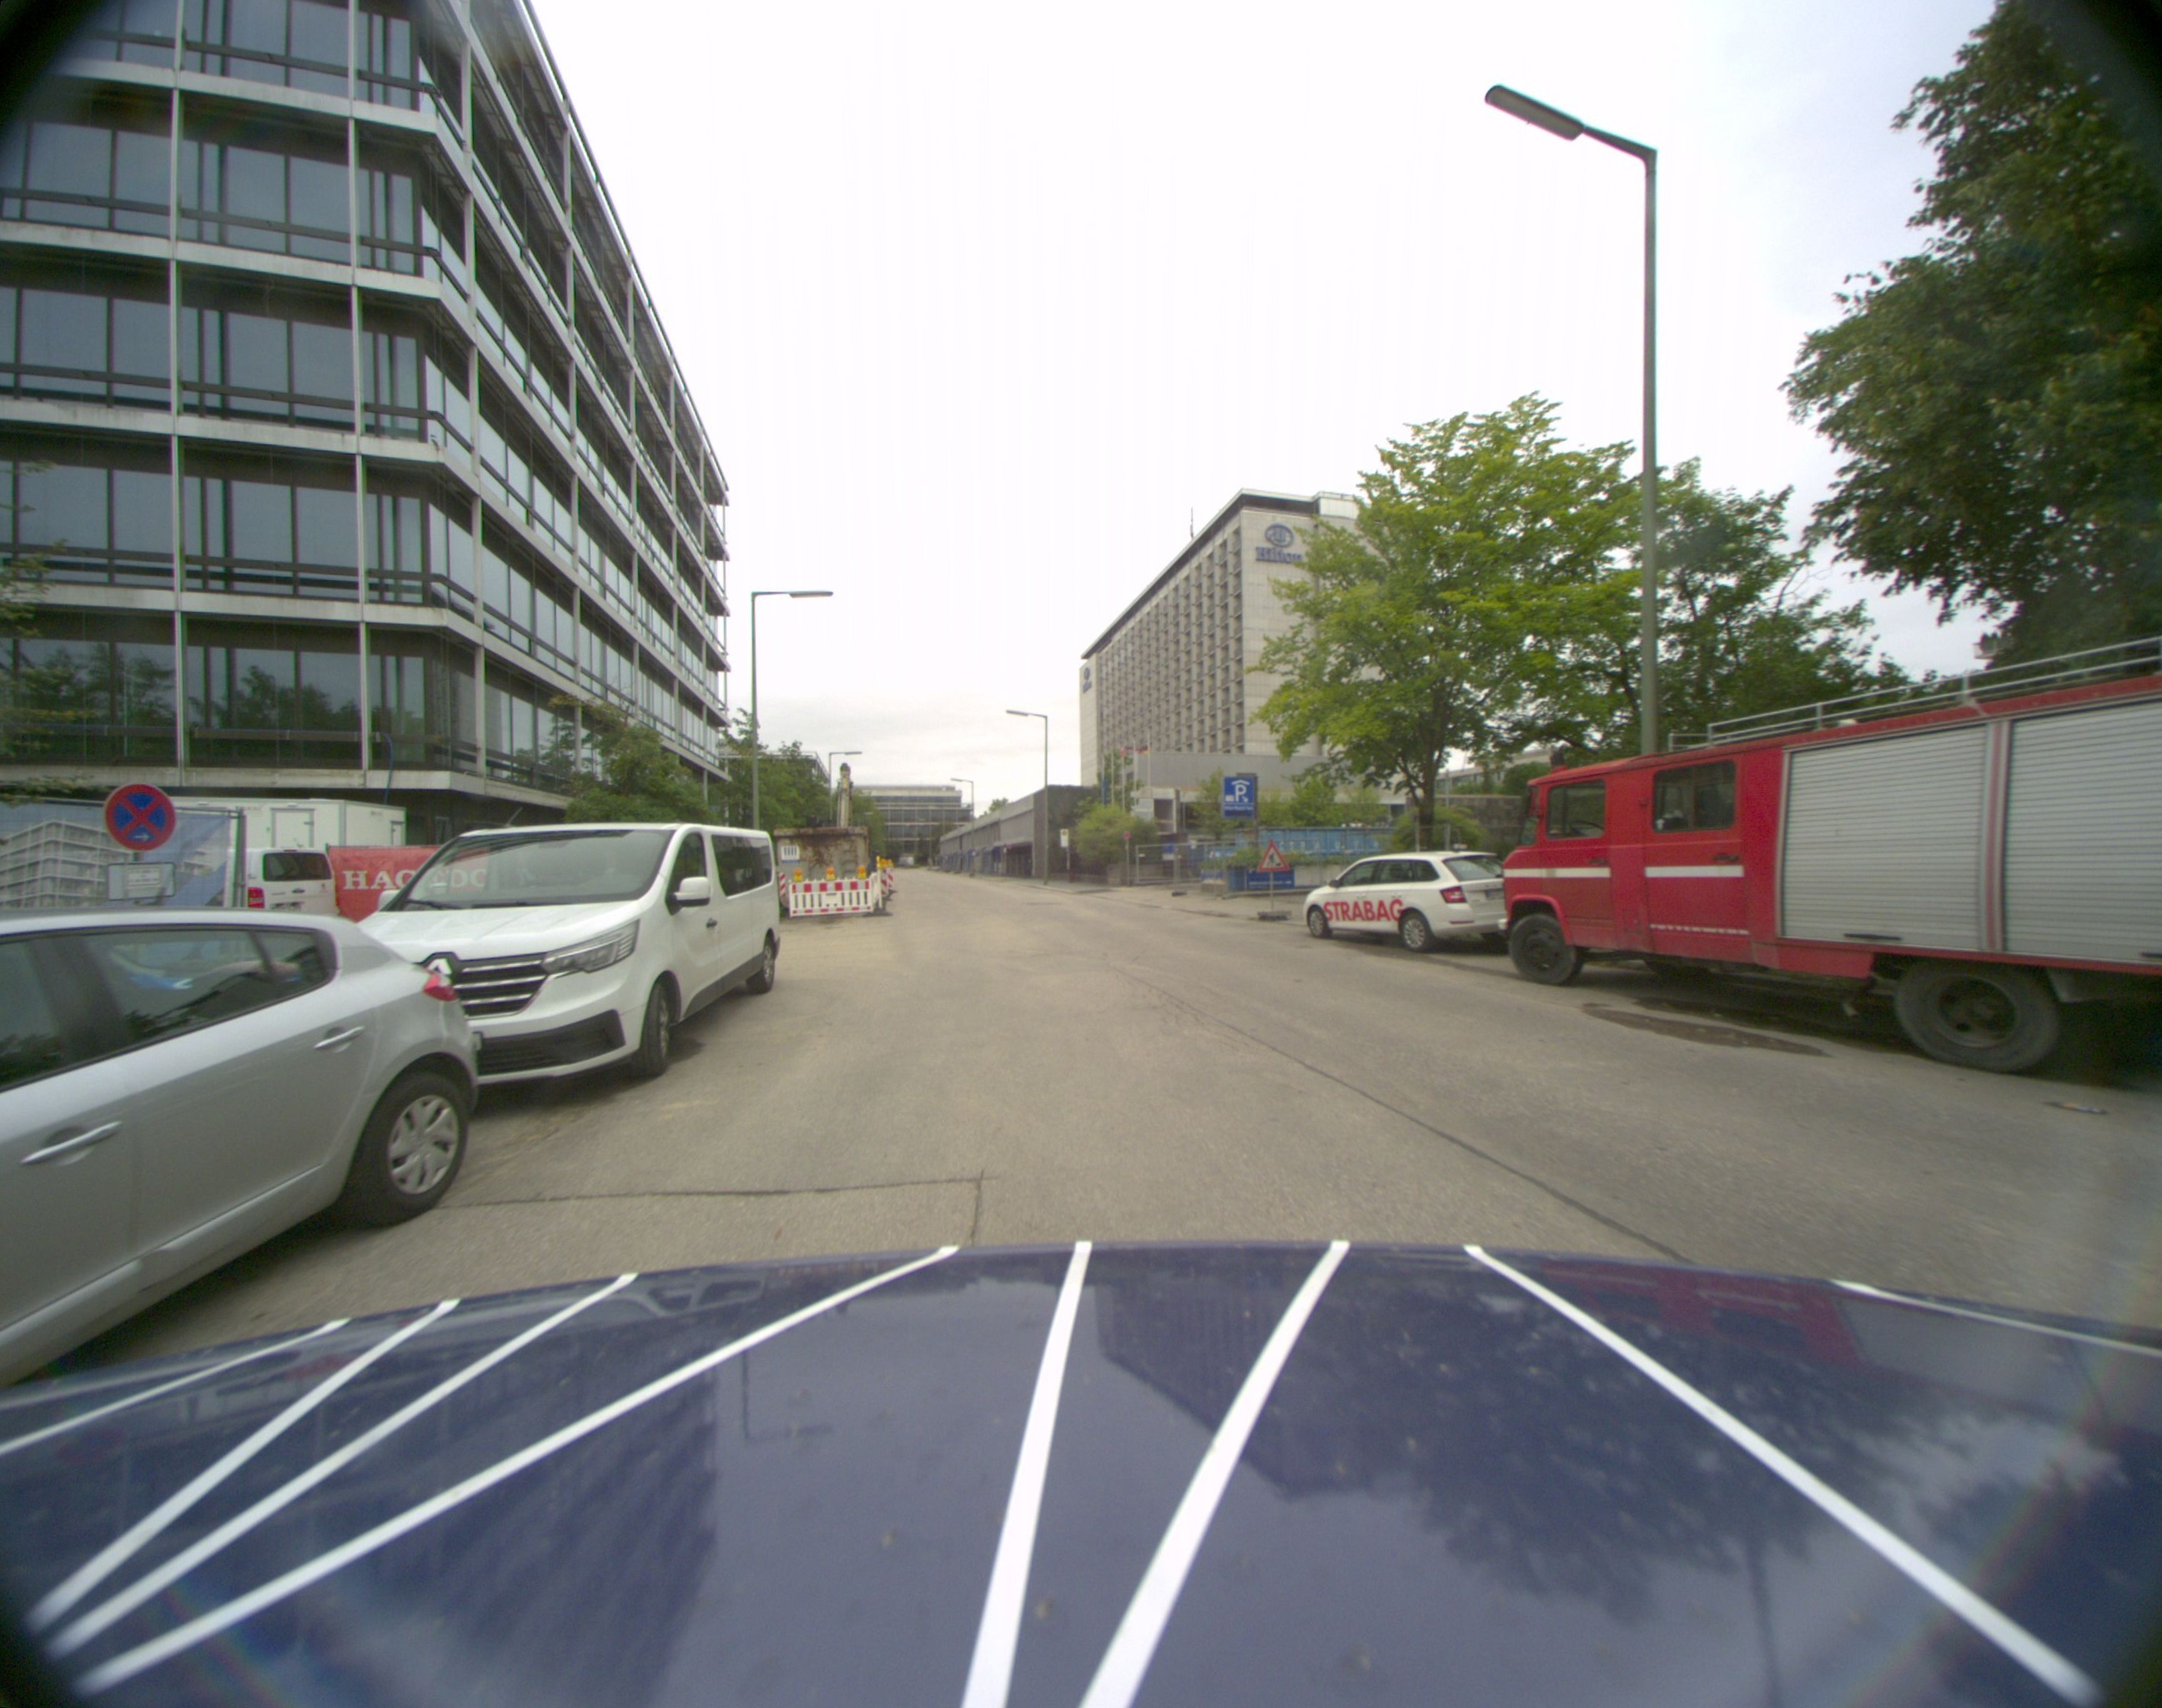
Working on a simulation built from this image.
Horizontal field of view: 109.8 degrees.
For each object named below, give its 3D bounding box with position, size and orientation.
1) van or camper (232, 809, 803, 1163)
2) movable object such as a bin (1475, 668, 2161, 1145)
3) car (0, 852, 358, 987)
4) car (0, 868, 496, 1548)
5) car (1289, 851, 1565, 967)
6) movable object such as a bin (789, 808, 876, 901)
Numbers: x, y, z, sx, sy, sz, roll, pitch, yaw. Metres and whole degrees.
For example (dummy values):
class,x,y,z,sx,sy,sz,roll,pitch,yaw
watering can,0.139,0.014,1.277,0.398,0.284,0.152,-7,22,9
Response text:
class,x,y,z,sx,sy,sz,roll,pitch,yaw
van or camper,-4.226,0.735,7.129,2.000,2.002,5.372,-1,0,-9
movable object such as a bin,6.213,0.270,6.063,2.111,2.444,6.181,-1,0,-10
car,-15.434,0.999,12.452,4.778,1.910,1.998,-2,0,-13
car,-3.771,0.953,1.624,2.000,1.718,4.446,-1,0,-8
car,5.373,0.755,12.512,1.783,1.540,4.251,-1,0,-17
movable object such as a bin,-11.124,0.000,34.806,3.253,3.695,8.995,-1,0,-15
